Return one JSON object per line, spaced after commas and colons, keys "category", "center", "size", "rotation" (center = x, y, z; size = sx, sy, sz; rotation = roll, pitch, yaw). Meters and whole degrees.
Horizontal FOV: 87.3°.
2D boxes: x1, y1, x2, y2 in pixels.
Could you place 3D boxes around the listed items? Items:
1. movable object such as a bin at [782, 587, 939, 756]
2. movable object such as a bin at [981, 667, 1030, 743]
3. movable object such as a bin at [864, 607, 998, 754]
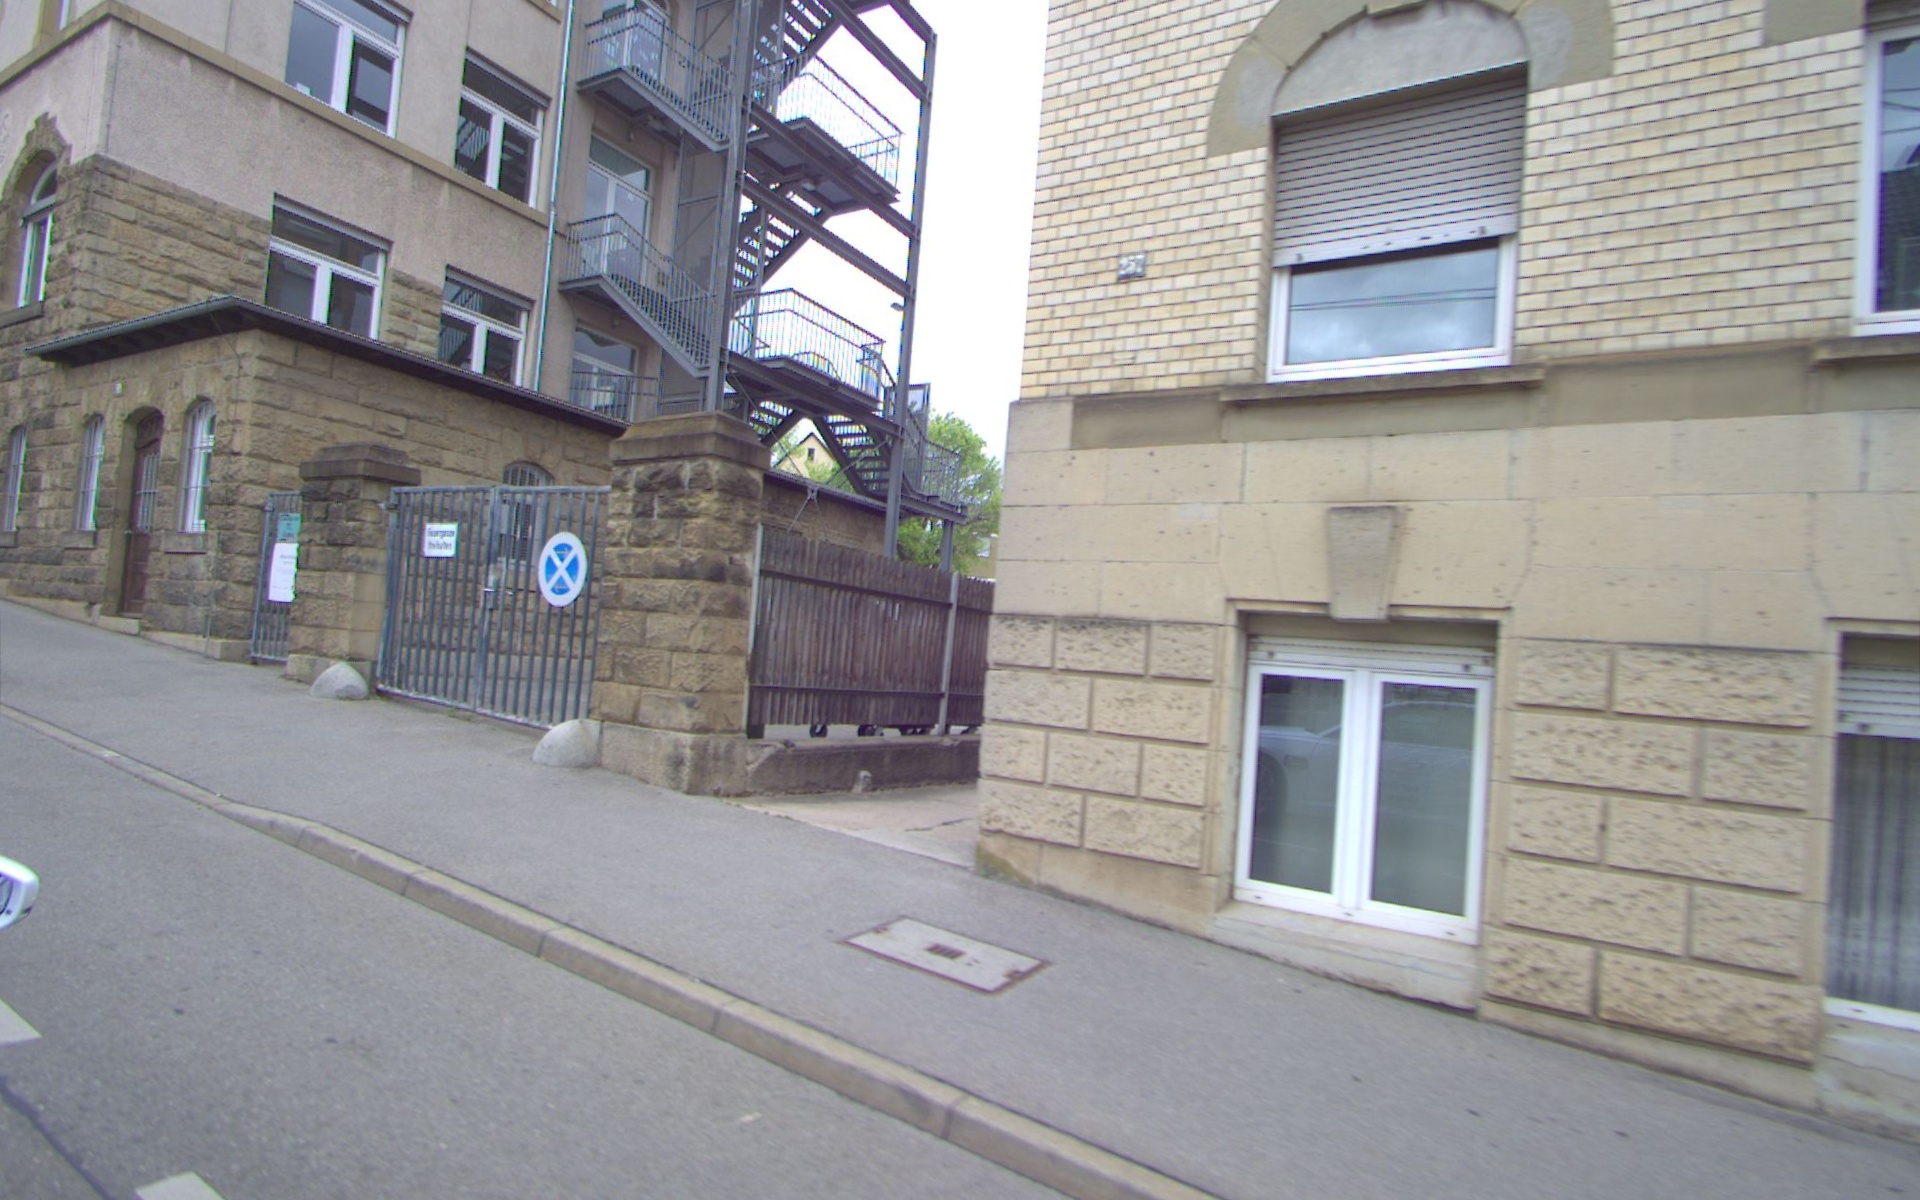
{"category": "movable object such as a bin", "center": [-1.001, 0.727, 10.276], "size": [0.980, 1.532, 1.077], "rotation": [7, -1, 31]}
{"category": "movable object such as a bin", "center": [0.602, 1.376, 13.182], "size": [0.446, 0.945, 0.385], "rotation": [3, -3, 31]}
{"category": "movable object such as a bin", "center": [-0.326, 0.943, 11.798], "size": [0.980, 1.532, 1.077], "rotation": [7, -1, 31]}
